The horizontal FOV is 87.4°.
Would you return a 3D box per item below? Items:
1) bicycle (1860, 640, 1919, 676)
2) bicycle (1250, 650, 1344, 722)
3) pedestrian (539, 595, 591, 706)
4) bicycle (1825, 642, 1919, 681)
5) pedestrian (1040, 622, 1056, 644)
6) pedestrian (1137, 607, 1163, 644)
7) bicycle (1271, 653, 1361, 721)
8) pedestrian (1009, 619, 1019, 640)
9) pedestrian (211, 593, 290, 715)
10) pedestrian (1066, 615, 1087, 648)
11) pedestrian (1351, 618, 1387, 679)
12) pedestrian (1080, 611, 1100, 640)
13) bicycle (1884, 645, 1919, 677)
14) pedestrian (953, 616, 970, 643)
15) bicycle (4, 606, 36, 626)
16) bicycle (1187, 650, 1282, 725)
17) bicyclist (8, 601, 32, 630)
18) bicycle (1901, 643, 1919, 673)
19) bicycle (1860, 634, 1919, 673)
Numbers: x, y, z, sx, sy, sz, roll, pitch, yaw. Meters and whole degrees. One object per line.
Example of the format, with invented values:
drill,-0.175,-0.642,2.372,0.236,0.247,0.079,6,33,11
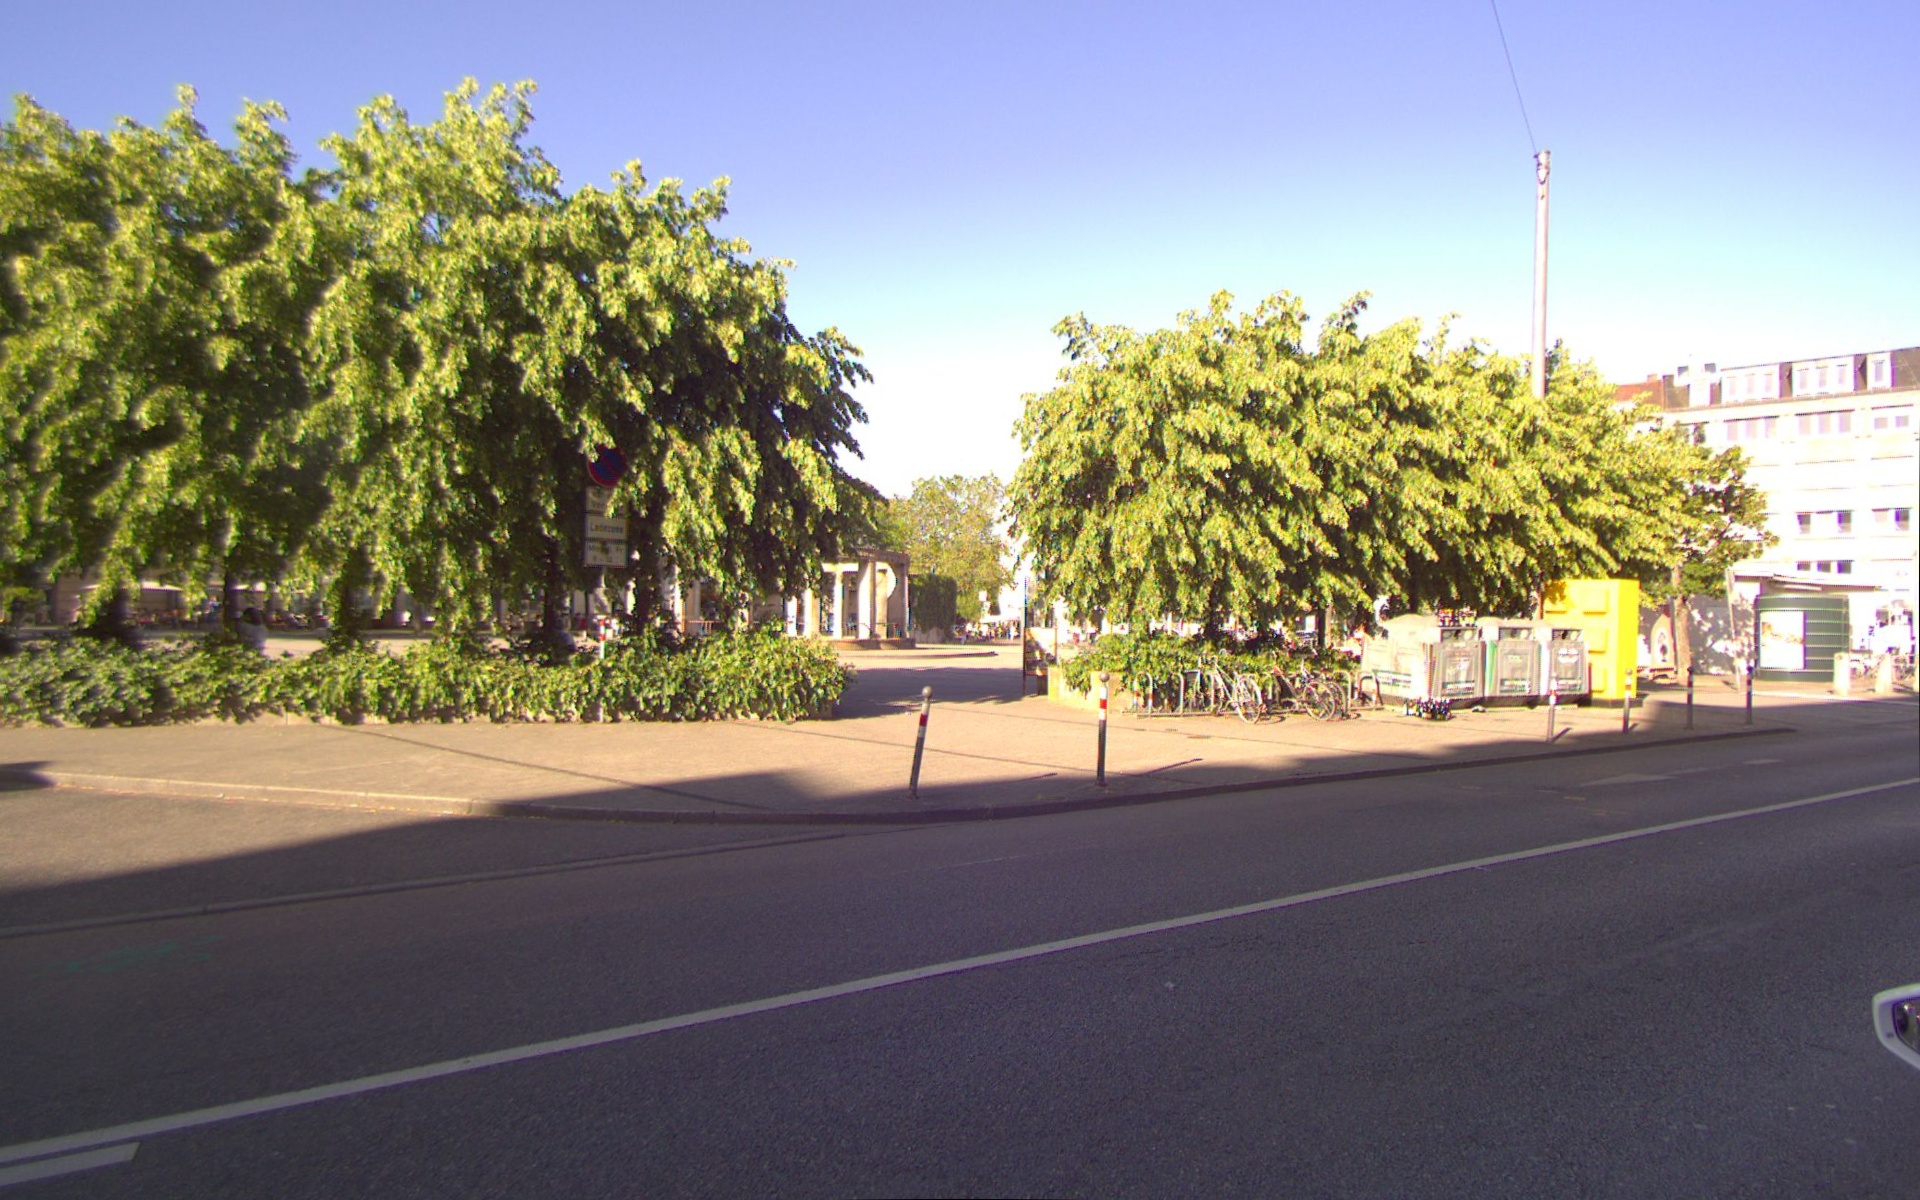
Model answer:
bicycle,33.126,2.036,35.035,0.833,1.171,2.449,1,-1,-31
bicycle,5.391,1.356,16.131,0.425,1.036,1.561,1,-1,-28
pedestrian,-6.496,0.815,16.541,0.725,1.781,0.895,1,-1,-19
bicycle,30.910,2.056,33.870,0.833,1.171,2.493,1,-1,-31
pedestrian,8.343,3.161,95.262,1.252,2.040,1.285,1,-1,-4
pedestrian,10.757,1.426,56.940,0.890,2.040,1.398,1,-1,-17
bicycle,5.803,1.400,16.447,0.425,0.971,1.518,0,0,-28
pedestrian,5.272,2.884,98.100,0.887,2.040,1.284,1,-1,-4
pedestrian,-10.746,0.802,15.239,0.725,1.781,0.895,1,-1,-19
pedestrian,7.307,1.961,63.036,0.893,2.040,0.986,1,0,-28
pedestrian,14.060,1.645,34.564,0.886,2.040,0.993,1,0,7
pedestrian,9.265,1.837,71.521,0.890,2.040,1.280,1,-1,-18
bicycle,36.759,2.327,38.031,0.834,1.171,2.517,1,-1,-34
pedestrian,0.130,2.302,77.726,0.806,2.040,1.044,1,-1,-37
bicycle,-47.092,0.793,50.338,0.581,0.966,1.895,1,-1,-25
bicycle,4.223,1.323,15.548,0.425,1.031,1.590,1,0,-28
bicyclist,-47.068,0.770,50.303,0.664,1.447,0.694,1,-1,-25
bicycle,38.684,2.314,39.510,0.834,1.171,2.308,1,-1,-34
bicycle,34.486,1.942,36.524,0.913,1.341,2.461,1,-1,-35
